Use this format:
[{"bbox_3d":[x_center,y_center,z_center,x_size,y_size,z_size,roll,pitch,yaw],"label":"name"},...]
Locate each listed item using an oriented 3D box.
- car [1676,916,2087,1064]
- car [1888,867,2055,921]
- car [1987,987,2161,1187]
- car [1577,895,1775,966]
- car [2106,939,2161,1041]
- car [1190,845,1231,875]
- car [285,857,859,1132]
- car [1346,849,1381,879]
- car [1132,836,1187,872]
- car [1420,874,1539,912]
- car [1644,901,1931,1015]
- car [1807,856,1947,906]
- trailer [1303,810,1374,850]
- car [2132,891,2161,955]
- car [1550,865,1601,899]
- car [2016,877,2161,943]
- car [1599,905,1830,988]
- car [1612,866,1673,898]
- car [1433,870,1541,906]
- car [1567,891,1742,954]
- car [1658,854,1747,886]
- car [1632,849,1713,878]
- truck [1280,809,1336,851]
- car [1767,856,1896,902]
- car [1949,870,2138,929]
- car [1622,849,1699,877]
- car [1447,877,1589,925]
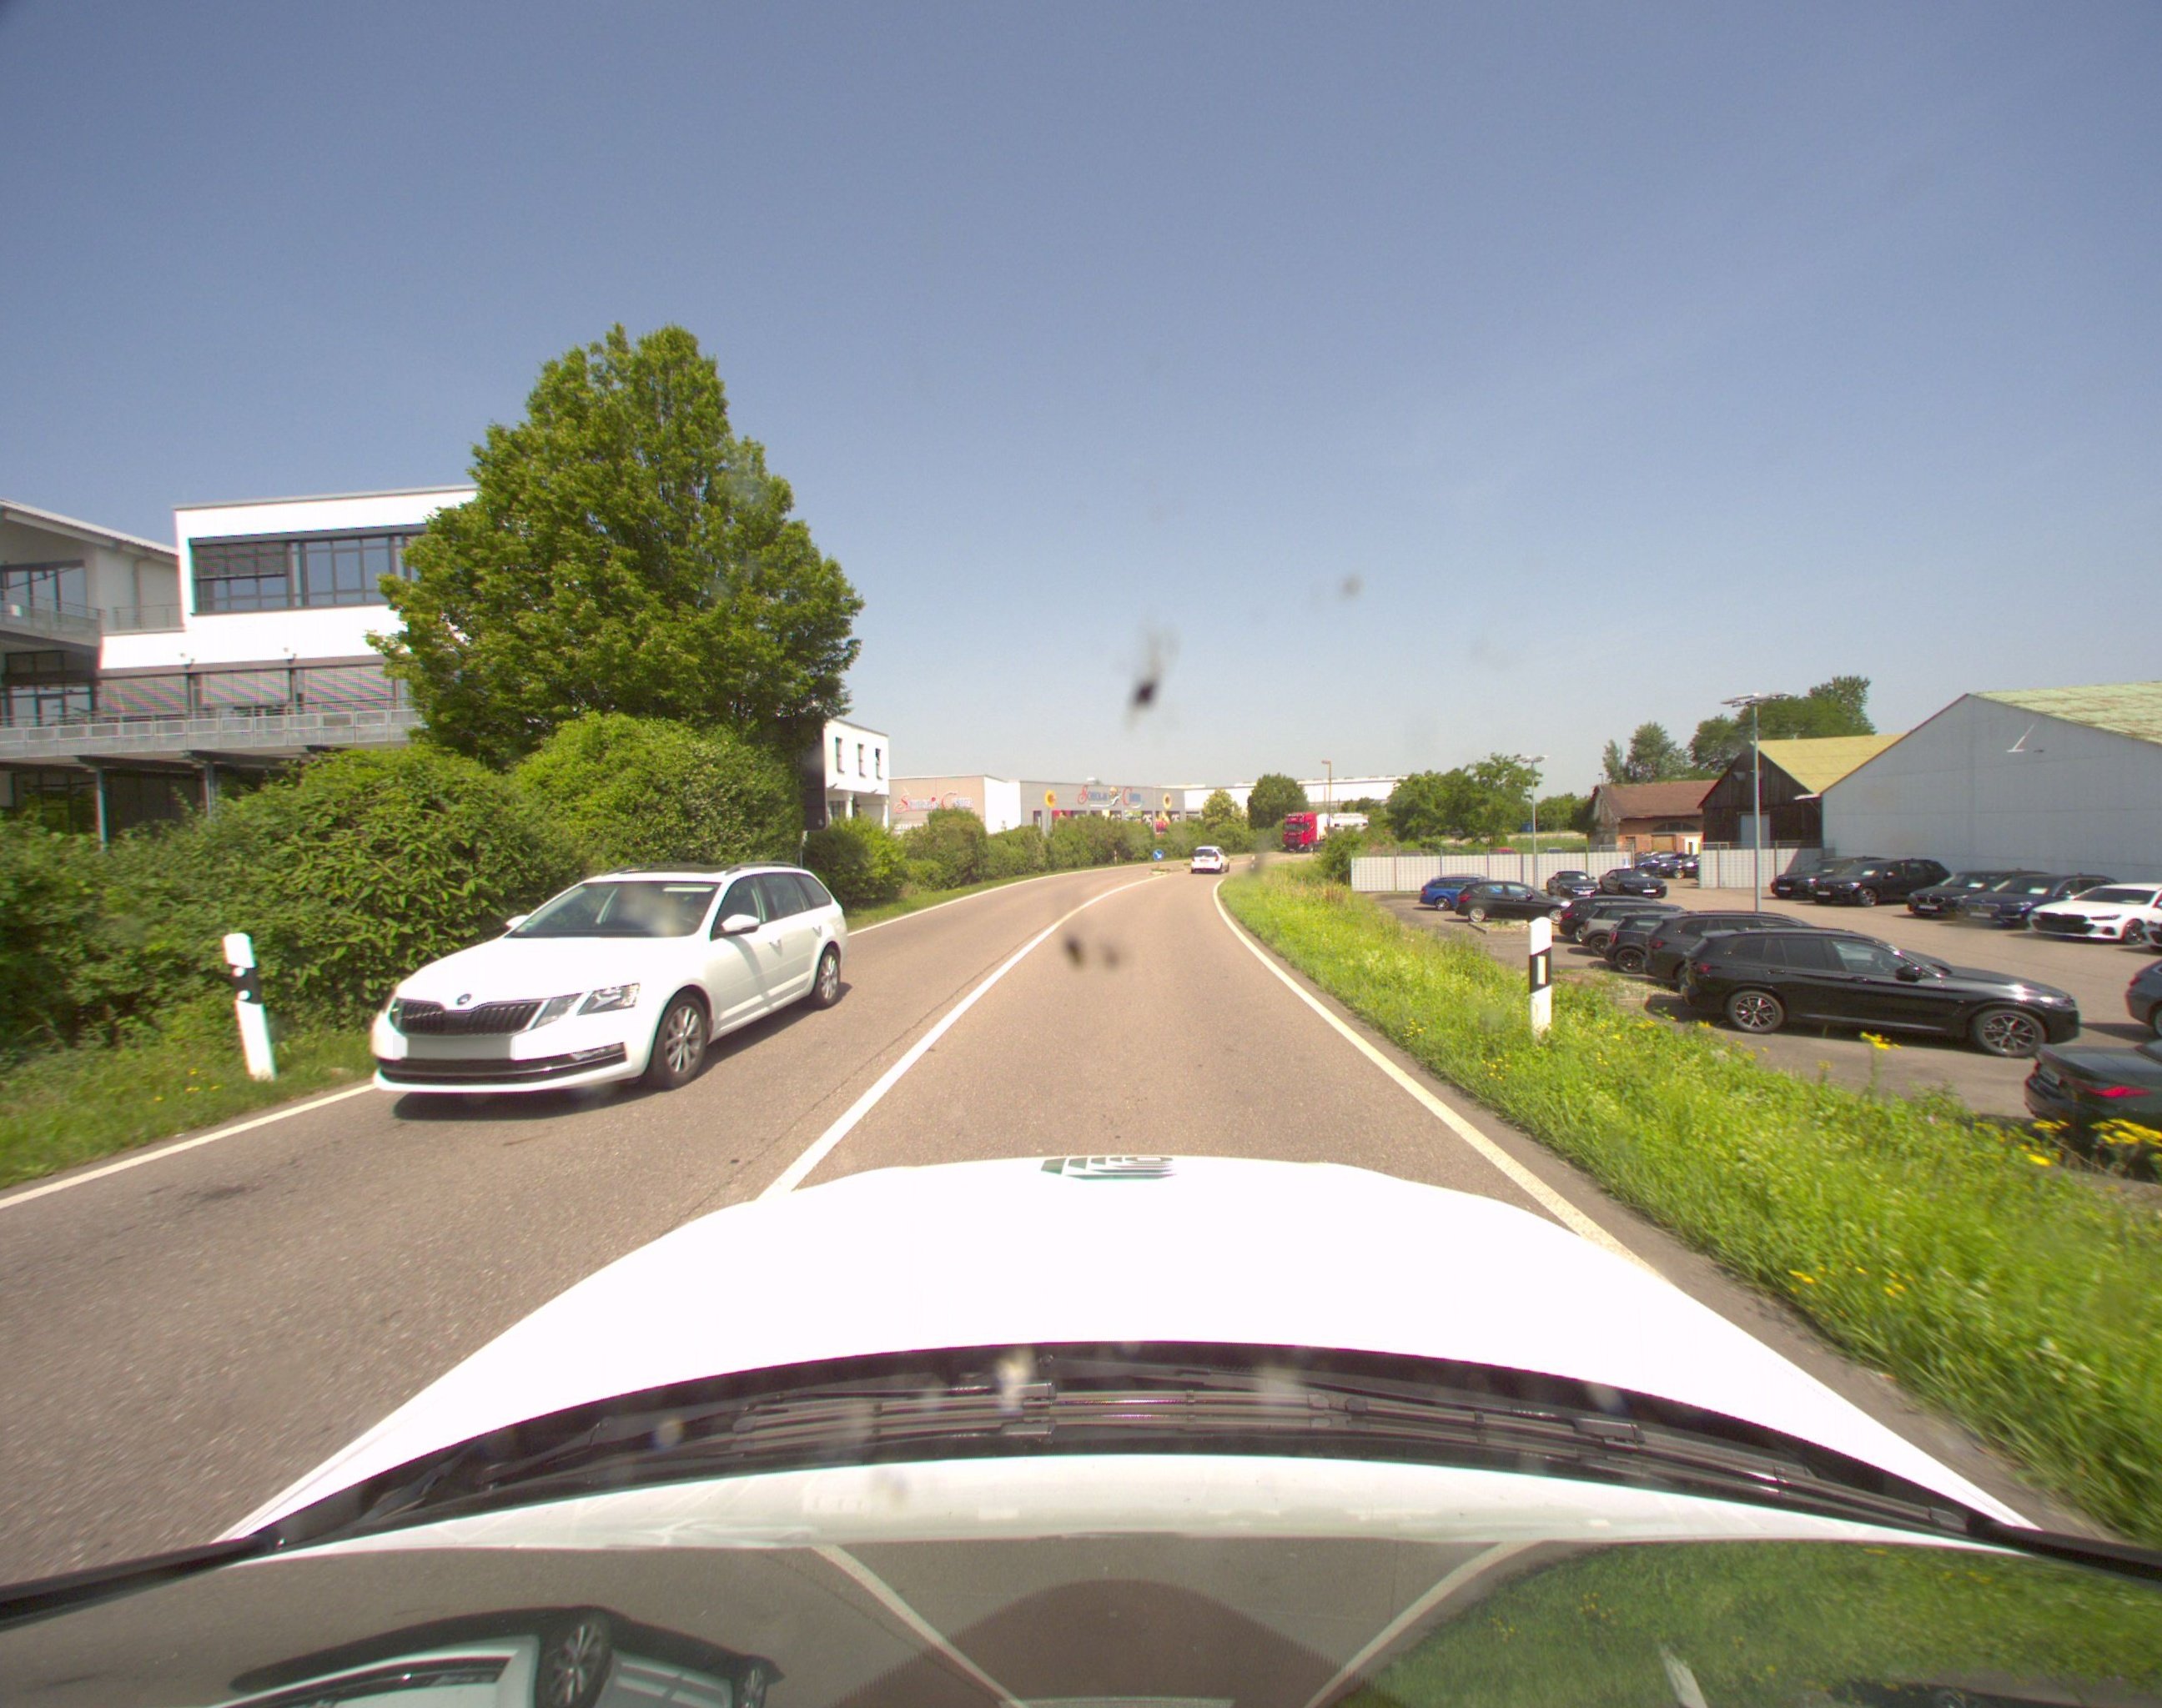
[{"bbox_3d":[12.705,2.068,13.457,4.583,1.700,1.869,0,2,35],"label":"car"},{"bbox_3d":[30.851,1.346,28.257,4.323,1.576,1.905,-1,1,-10],"label":"car"},{"bbox_3d":[11.843,2.275,7.330,4.583,1.523,1.868,0,0,33],"label":"car"},{"bbox_3d":[15.724,1.944,21.675,4.097,1.493,1.843,0,1,38],"label":"car"},{"bbox_3d":[17.088,2.104,10.767,2.119,1.457,4.550,0,0,15],"label":"car"},{"bbox_3d":[7.733,0.314,48.262,1.767,1.603,3.910,4,1,17],"label":"car"},{"bbox_3d":[-3.470,0.796,6.777,1.821,1.470,4.413,0,1,3],"label":"car"},{"bbox_3d":[19.247,0.654,55.638,1.979,2.013,4.016,0,0,15],"label":"car"},{"bbox_3d":[4.671,0.019,48.099,1.975,2.013,4.023,0,0,25],"label":"car"},{"bbox_3d":[17.863,1.705,36.539,4.583,1.498,1.868,0,2,33],"label":"car"},{"bbox_3d":[13.981,1.966,16.441,4.181,1.700,1.931,0,2,38],"label":"car"},{"bbox_3d":[32.209,1.047,32.990,4.323,1.804,1.905,-1,1,-10],"label":"car"},{"bbox_3d":[27.151,-2.439,85.629,8.741,4.030,2.855,0,0,-41],"label":"trailer"},{"bbox_3d":[28.849,1.684,19.949,4.598,1.523,1.905,-1,1,-10],"label":"car"},{"bbox_3d":[25.192,1.372,41.610,1.833,1.534,4.671,0,0,27],"label":"car"},{"bbox_3d":[29.143,1.521,22.835,4.323,1.523,1.905,-1,1,-10],"label":"car"},{"bbox_3d":[14.664,2.062,19.060,4.097,1.442,1.787,0,2,38],"label":"car"},{"bbox_3d":[27.925,1.352,40.597,1.975,1.398,4.024,0,0,27],"label":"car"},{"bbox_3d":[19.678,1.591,39.563,4.319,1.502,1.853,0,2,45],"label":"car"},{"bbox_3d":[16.685,1.924,23.797,3.985,1.442,1.785,0,2,43],"label":"car"},{"bbox_3d":[35.348,0.881,46.436,3.707,1.750,1.682,0,0,18],"label":"car"},{"bbox_3d":[36.112,0.583,49.847,3.706,1.750,1.682,0,0,21],"label":"car"},{"bbox_3d":[22.865,-2.291,81.814,2.854,4.030,6.764,-1,0,39],"label":"truck"},{"bbox_3d":[33.043,1.064,35.906,4.323,1.804,1.993,-1,1,-10],"label":"car"},{"bbox_3d":[29.955,1.373,25.397,4.323,1.576,1.905,-1,1,-10],"label":"car"},{"bbox_3d":[37.433,0.583,52.702,3.706,1.750,1.682,0,0,21],"label":"car"},{"bbox_3d":[16.432,1.728,30.734,4.584,1.605,1.868,-1,0,30],"label":"car"}]
